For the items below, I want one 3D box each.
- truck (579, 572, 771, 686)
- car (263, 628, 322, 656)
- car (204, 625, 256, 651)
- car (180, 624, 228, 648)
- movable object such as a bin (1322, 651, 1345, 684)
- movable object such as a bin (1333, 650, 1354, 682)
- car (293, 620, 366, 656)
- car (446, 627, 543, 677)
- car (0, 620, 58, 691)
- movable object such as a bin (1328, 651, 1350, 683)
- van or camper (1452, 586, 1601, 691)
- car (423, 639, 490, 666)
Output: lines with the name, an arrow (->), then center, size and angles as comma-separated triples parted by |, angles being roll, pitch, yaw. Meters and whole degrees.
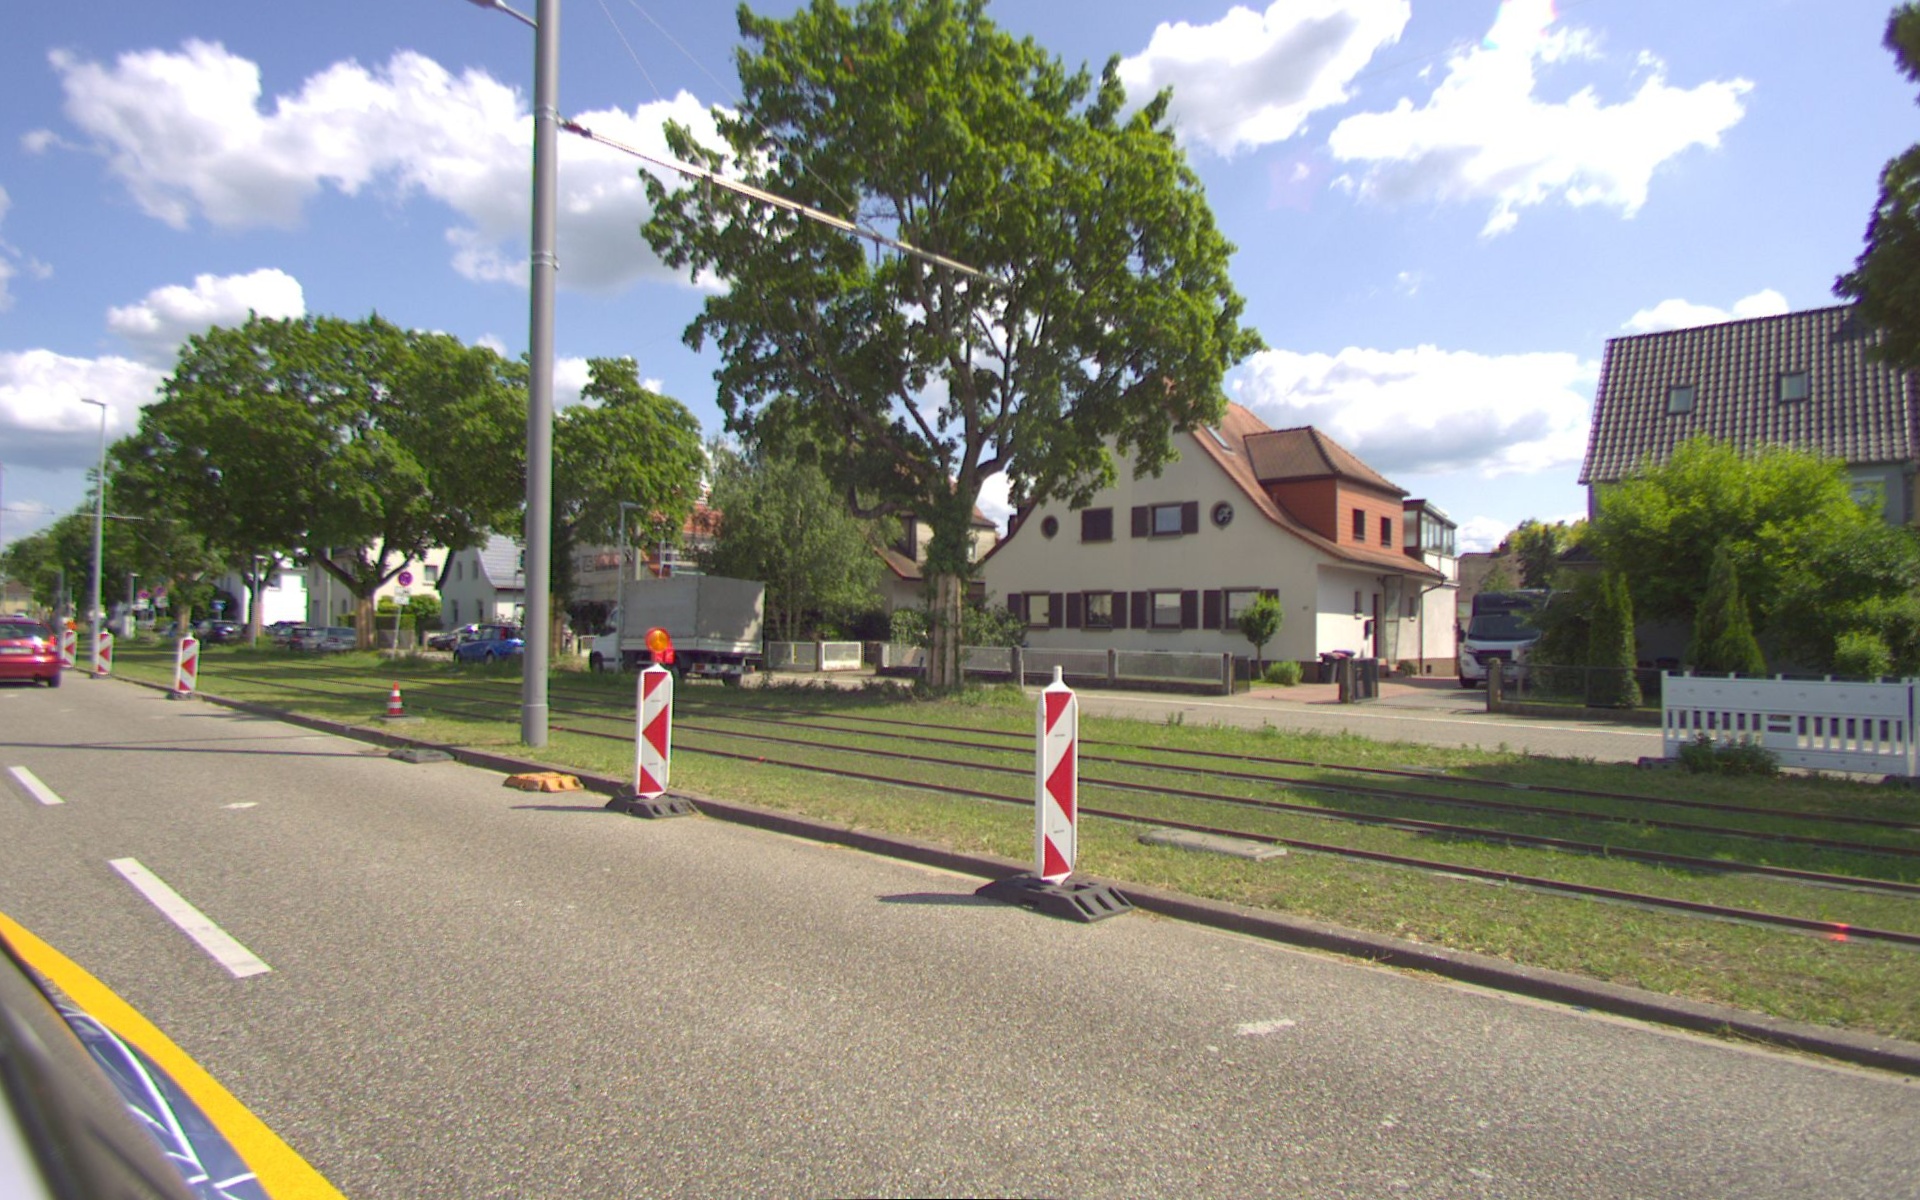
truck -> -8.012, 0.725, 28.085 | 5.950, 2.826, 2.339 | 0, 0, 42
car -> -33.478, 2.071, 50.712 | 3.786, 1.251, 1.603 | 0, 0, 42
car -> -41.171, 2.135, 57.072 | 3.999, 1.311, 1.615 | 0, 0, 42
car -> -45.649, 2.142, 61.062 | 3.999, 1.311, 1.615 | 0, 0, 42
movable object such as a bin -> 10.531, 1.905, 28.530 | 0.458, 0.874, 0.469 | 0, 0, 40
movable object such as a bin -> 11.096, 1.901, 29.272 | 0.458, 0.874, 0.469 | 0, 0, 40
car -> -29.209, 1.730, 46.821 | 4.523, 1.524, 1.685 | 0, 0, 42
car -> -16.085, 1.740, 34.899 | 3.930, 1.524, 1.650 | 0, 0, 42
car -> -21.303, 1.189, 22.416 | 3.719, 1.480, 1.561 | -1, -3, 42
movable object such as a bin -> 10.815, 1.903, 28.903 | 0.458, 0.874, 0.469 | 0, 0, 40
van or camper -> 16.264, 0.959, 28.858 | 2.498, 2.652, 6.267 | 0, 0, 41
car -> -28.277, 2.920, 56.916 | 3.190, 1.393, 1.492 | 0, 0, -18
